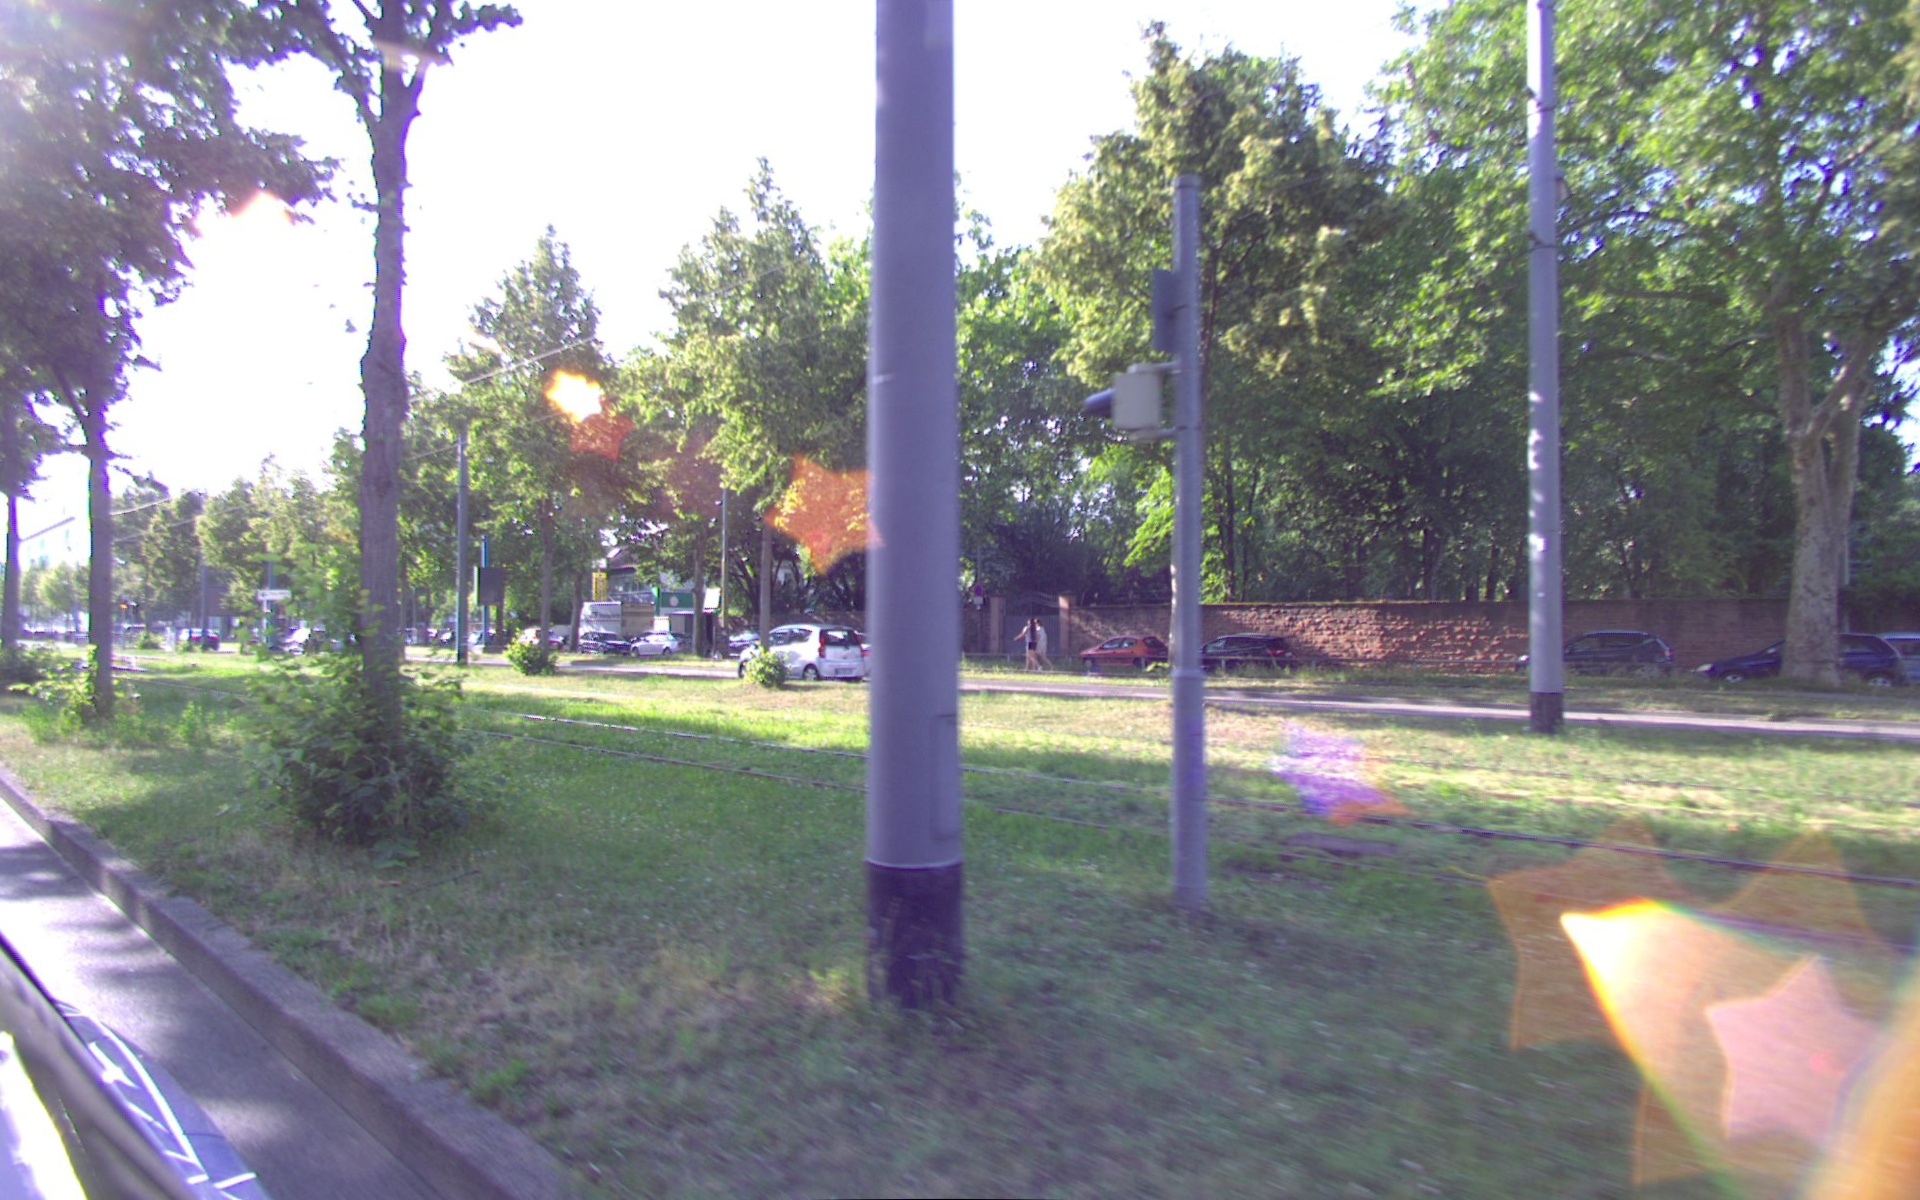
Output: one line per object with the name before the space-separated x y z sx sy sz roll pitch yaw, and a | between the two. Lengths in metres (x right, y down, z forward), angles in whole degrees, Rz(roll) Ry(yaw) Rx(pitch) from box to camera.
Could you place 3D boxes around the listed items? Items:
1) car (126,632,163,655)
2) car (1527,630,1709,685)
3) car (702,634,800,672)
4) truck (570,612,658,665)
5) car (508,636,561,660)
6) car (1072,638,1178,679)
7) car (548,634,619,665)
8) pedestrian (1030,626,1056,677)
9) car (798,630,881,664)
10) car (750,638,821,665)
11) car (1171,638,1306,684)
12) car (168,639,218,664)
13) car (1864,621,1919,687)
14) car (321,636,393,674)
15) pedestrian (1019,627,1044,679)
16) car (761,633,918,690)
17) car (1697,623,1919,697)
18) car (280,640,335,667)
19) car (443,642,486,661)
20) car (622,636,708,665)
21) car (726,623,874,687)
car | -68.363 3.619 84.799 4.216 1.878 1.664 -1 0 41
car | 19.217 1.654 29.752 4.348 1.453 1.772 -1 0 33
car | -8.929 2.207 43.045 4.474 1.442 1.811 -1 0 42
truck | -25.131 2.739 73.357 2.855 3.542 7.949 -1 0 -44
car | -24.733 2.768 58.783 1.564 1.286 3.964 -1 0 -43
car | 6.566 2.285 40.456 3.912 1.453 1.699 -1 0 43
car | -19.252 2.518 51.696 3.957 1.442 1.653 -1 0 41
pedestrian | 2.449 1.510 29.866 0.601 1.487 0.382 -2 0 41
car | -6.368 2.438 53.141 4.474 1.624 1.811 -1 0 42
car | -9.770 2.845 56.467 4.387 1.386 1.678 -1 0 45
car | 10.017 2.168 36.615 4.361 1.453 1.767 -1 0 43
car | -49.427 3.289 65.203 4.669 1.446 1.664 -1 0 41
car | 24.729 1.344 26.036 3.811 1.497 1.746 -1 0 -42
car | -27.351 2.454 45.841 4.130 1.544 1.594 -1 0 41
pedestrian | 2.082 1.529 29.532 0.601 1.487 0.382 -2 0 41
car | -3.509 1.729 28.896 4.811 1.487 1.664 -1 -4 41
car | 18.733 1.268 22.259 4.027 1.446 1.667 -1 0 36
car | -38.315 3.100 59.362 4.033 1.446 1.664 -1 0 41
car | -32.242 3.316 65.796 3.773 1.116 1.284 -1 0 44
car | -14.181 2.384 48.540 4.899 1.253 1.658 -1 0 42
car | -3.952 1.296 24.713 3.695 1.403 1.566 -1 0 41
